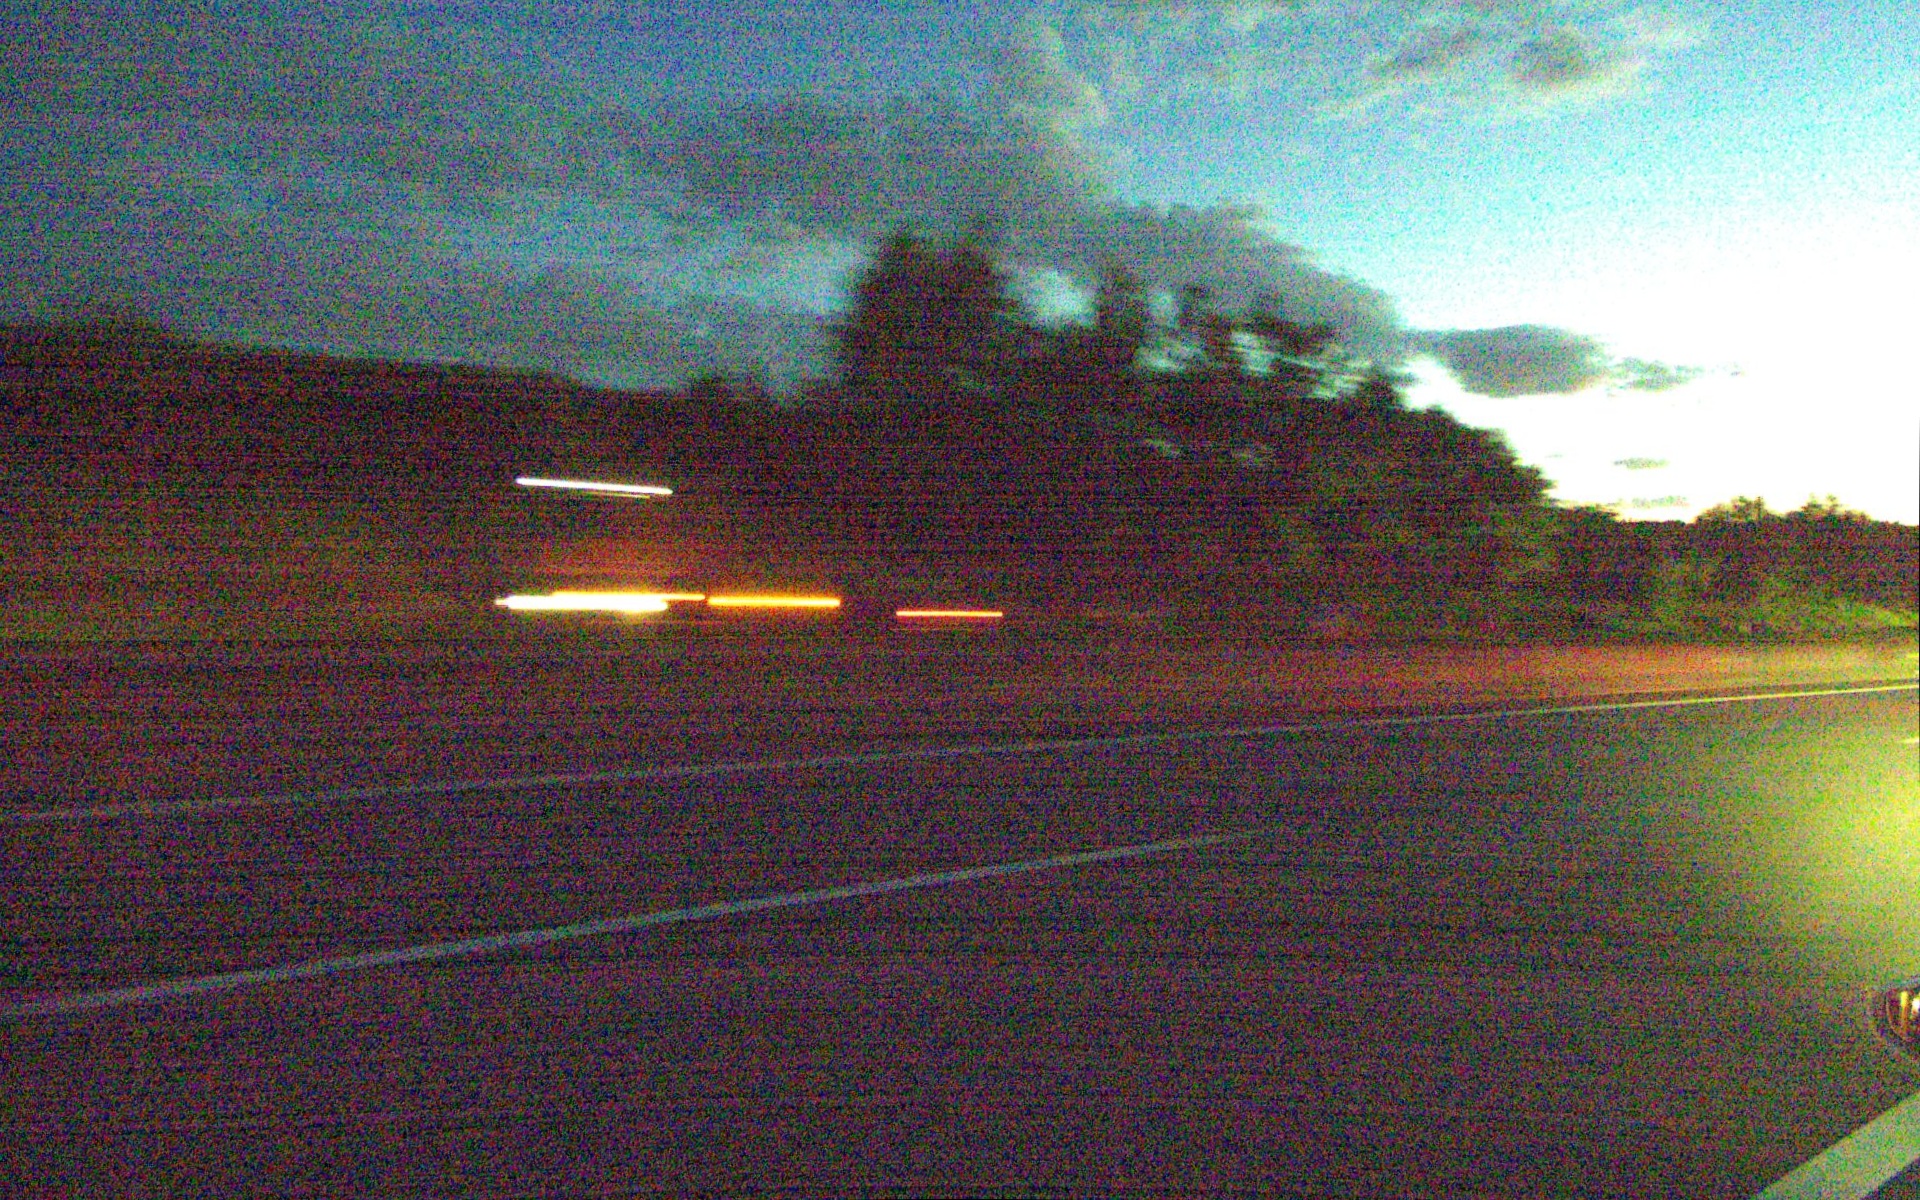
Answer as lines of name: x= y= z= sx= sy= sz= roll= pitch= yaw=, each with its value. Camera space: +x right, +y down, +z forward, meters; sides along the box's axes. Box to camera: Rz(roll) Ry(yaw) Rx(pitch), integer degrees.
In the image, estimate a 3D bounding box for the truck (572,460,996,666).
truck: x=-3.687 y=-0.624 z=22.379 sx=8.955 sy=3.903 sz=2.508 roll=1 pitch=0 yaw=-30
